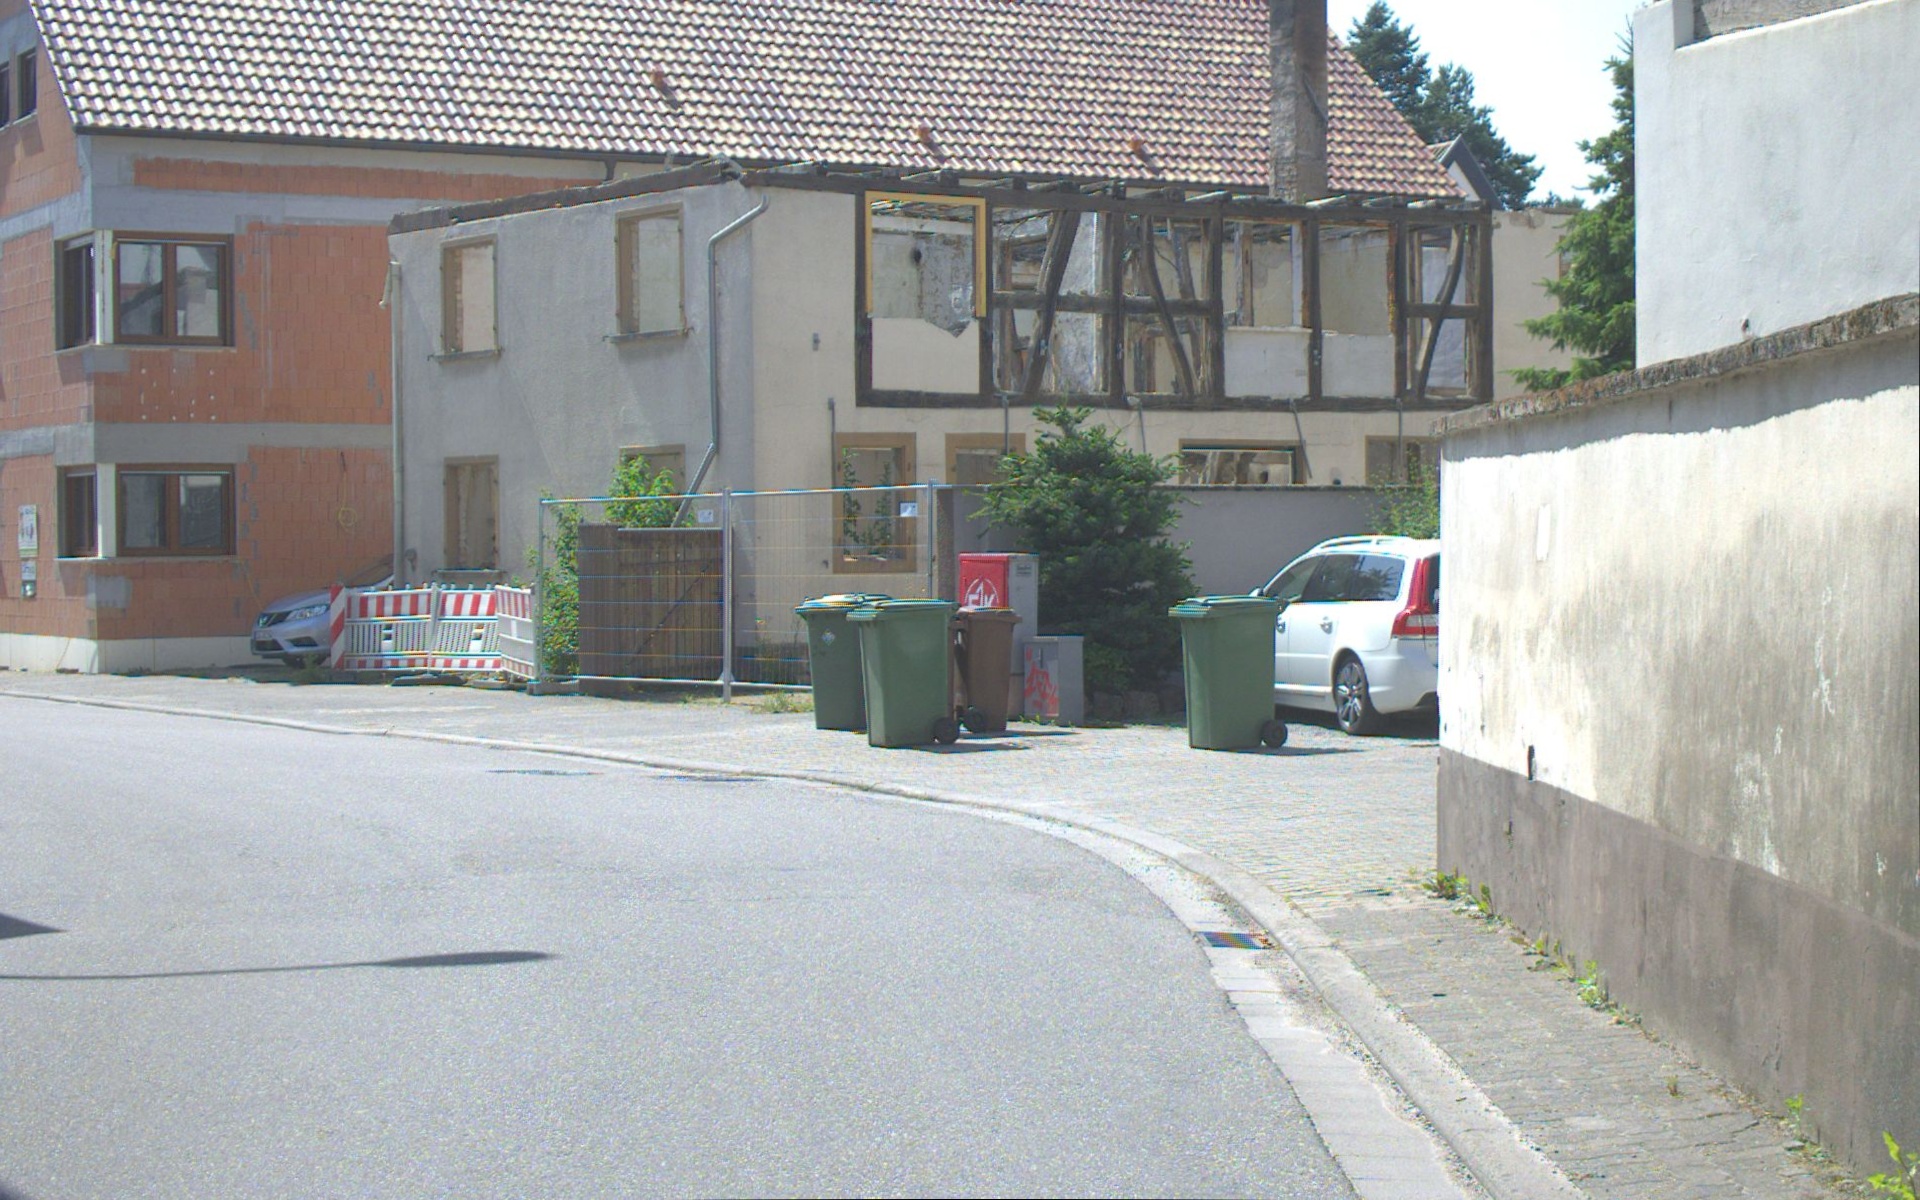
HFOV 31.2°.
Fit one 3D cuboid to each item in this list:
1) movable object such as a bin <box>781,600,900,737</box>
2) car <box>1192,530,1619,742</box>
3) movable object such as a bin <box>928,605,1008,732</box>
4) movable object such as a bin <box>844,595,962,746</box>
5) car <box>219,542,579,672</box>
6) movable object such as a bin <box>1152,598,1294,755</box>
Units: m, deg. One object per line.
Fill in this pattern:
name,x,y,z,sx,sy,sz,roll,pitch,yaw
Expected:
movable object such as a bin,-0.964,0.542,27.776,0.671,1.068,0.760,0,1,27
car,3.418,0.211,27.224,1.810,1.523,4.298,-1,1,-16
movable object such as a bin,0.060,0.529,26.875,0.465,0.967,0.496,-1,1,-24
movable object such as a bin,-0.424,0.517,25.528,0.686,1.088,0.638,-1,1,-23
car,-7.107,0.059,43.705,4.089,1.502,1.870,-2,1,-36
movable object such as a bin,1.868,0.533,24.457,0.720,1.077,0.755,-1,1,-26
